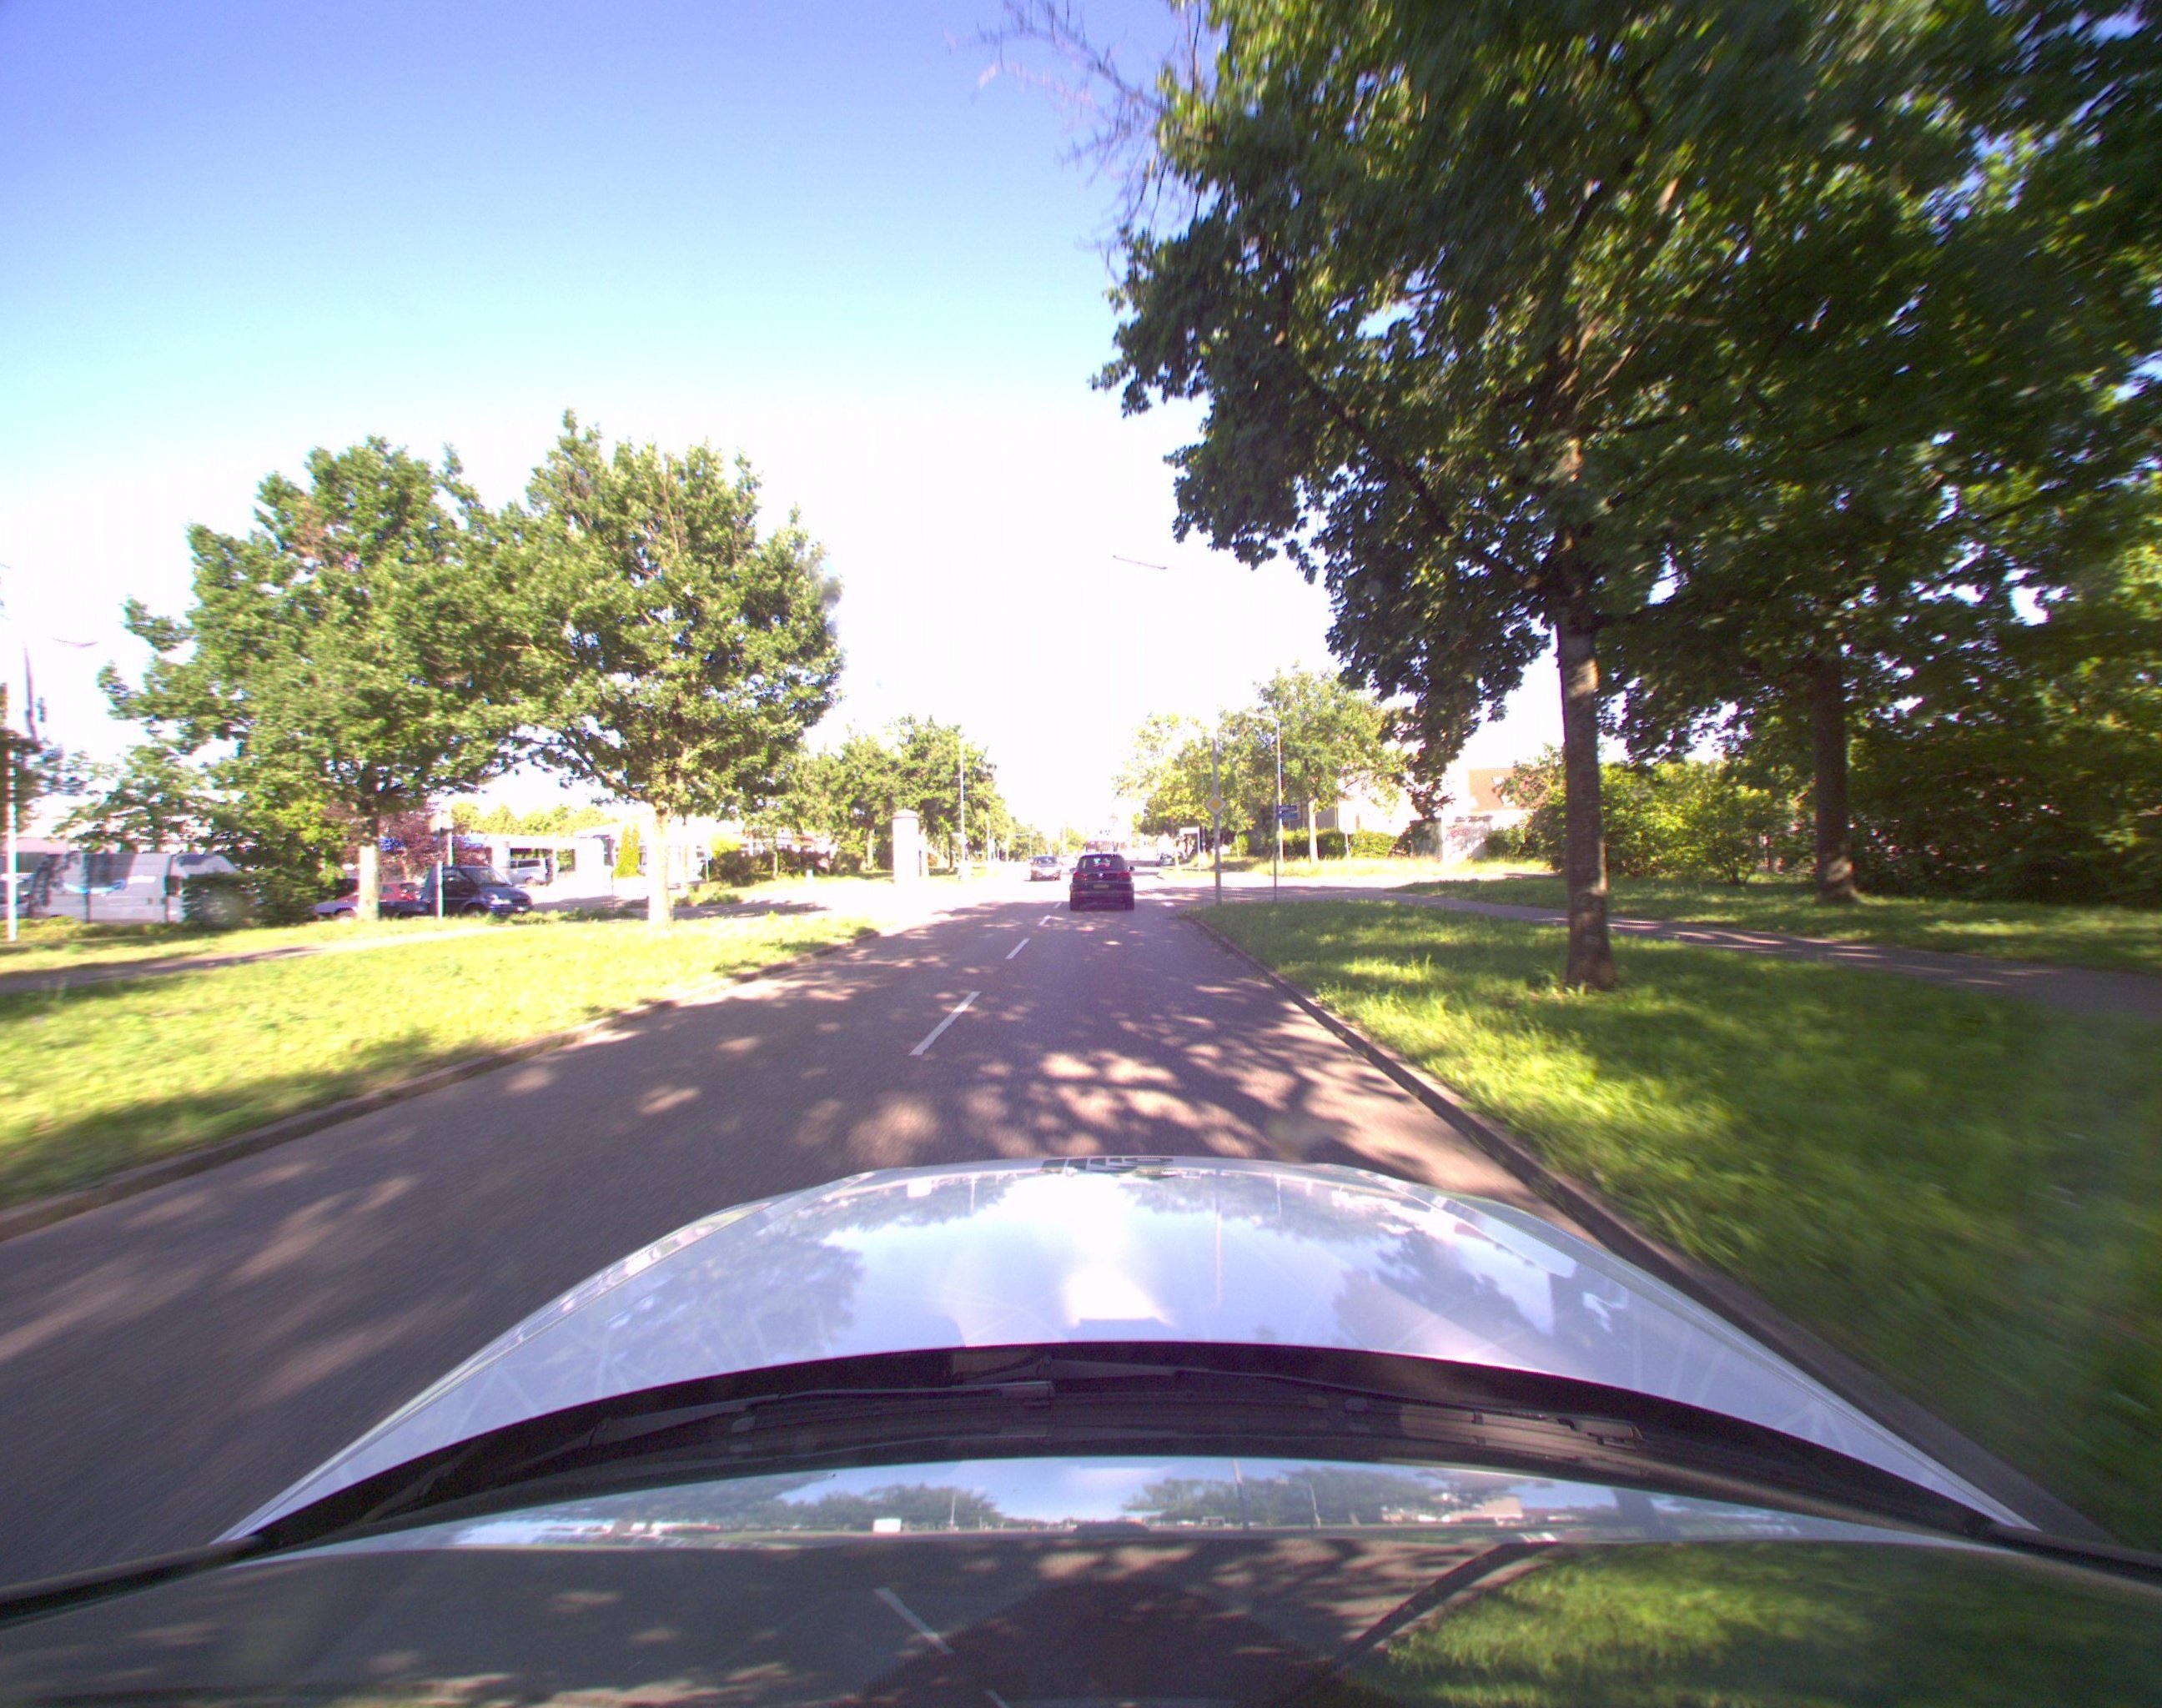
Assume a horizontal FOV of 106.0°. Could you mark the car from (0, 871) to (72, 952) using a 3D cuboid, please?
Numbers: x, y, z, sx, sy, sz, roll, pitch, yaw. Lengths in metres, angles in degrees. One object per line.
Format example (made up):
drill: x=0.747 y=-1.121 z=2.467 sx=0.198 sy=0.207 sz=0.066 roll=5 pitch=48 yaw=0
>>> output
car: x=-36.954 y=1.844 z=25.904 sx=6.327 sy=2.516 sz=2.297 roll=0 pitch=-1 yaw=-5

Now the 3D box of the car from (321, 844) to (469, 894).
car: x=-38.567 y=0.822 z=45.942 sx=6.148 sy=2.703 sz=2.297 roll=0 pitch=-1 yaw=-5

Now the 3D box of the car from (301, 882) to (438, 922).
car: x=-31.258 y=2.094 z=35.879 sx=4.183 sy=1.481 sz=1.822 roll=-2 pitch=0 yaw=-5

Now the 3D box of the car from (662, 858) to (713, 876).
car: x=-33.835 y=1.122 z=70.023 sx=3.591 sy=1.498 sz=1.590 roll=-1 pitch=-1 yaw=-6

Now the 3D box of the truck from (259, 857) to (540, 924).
truck: x=-22.375 y=1.156 z=27.031 sx=7.101 sy=2.050 sz=2.136 roll=0 pitch=-1 yaw=-6

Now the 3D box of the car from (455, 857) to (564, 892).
car: x=-37.870 y=1.323 z=54.069 sx=5.399 sy=2.070 sz=2.297 roll=-2 pitch=0 yaw=-5

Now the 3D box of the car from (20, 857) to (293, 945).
car: x=-29.909 y=1.463 z=26.558 sx=5.851 sy=2.703 sz=2.297 roll=0 pitch=-1 yaw=-5

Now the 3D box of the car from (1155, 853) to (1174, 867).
car: x=9.148 y=0.630 z=89.159 sx=1.587 sy=1.428 sz=4.204 roll=-3 pitch=0 yaw=1

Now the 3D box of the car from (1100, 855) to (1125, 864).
car: x=4.567 y=0.764 z=119.493 sx=3.502 sy=1.302 sz=1.578 roll=-1 pitch=0 yaw=8

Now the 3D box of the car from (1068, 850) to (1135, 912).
car: x=0.631 y=0.763 z=24.331 sx=1.814 sy=1.673 sz=4.004 roll=0 pitch=-1 yaw=2

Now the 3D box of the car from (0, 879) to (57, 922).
car: x=-50.274 y=2.173 z=37.227 sx=4.231 sy=1.885 sz=1.882 roll=-2 pitch=0 yaw=-5

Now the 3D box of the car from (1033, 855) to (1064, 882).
car: x=-2.016 y=0.895 z=51.109 sx=1.748 sy=1.595 sz=4.298 roll=0 pitch=-1 yaw=0

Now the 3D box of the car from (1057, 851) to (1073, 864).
car: x=-2.099 y=0.461 z=107.382 sx=1.752 sy=1.620 sz=4.024 roll=-2 pitch=-1 yaw=-6

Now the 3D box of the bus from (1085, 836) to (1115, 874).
bus: x=1.732 y=0.078 z=78.870 sx=2.588 sy=3.334 sz=11.980 roll=0 pitch=0 yaw=0
